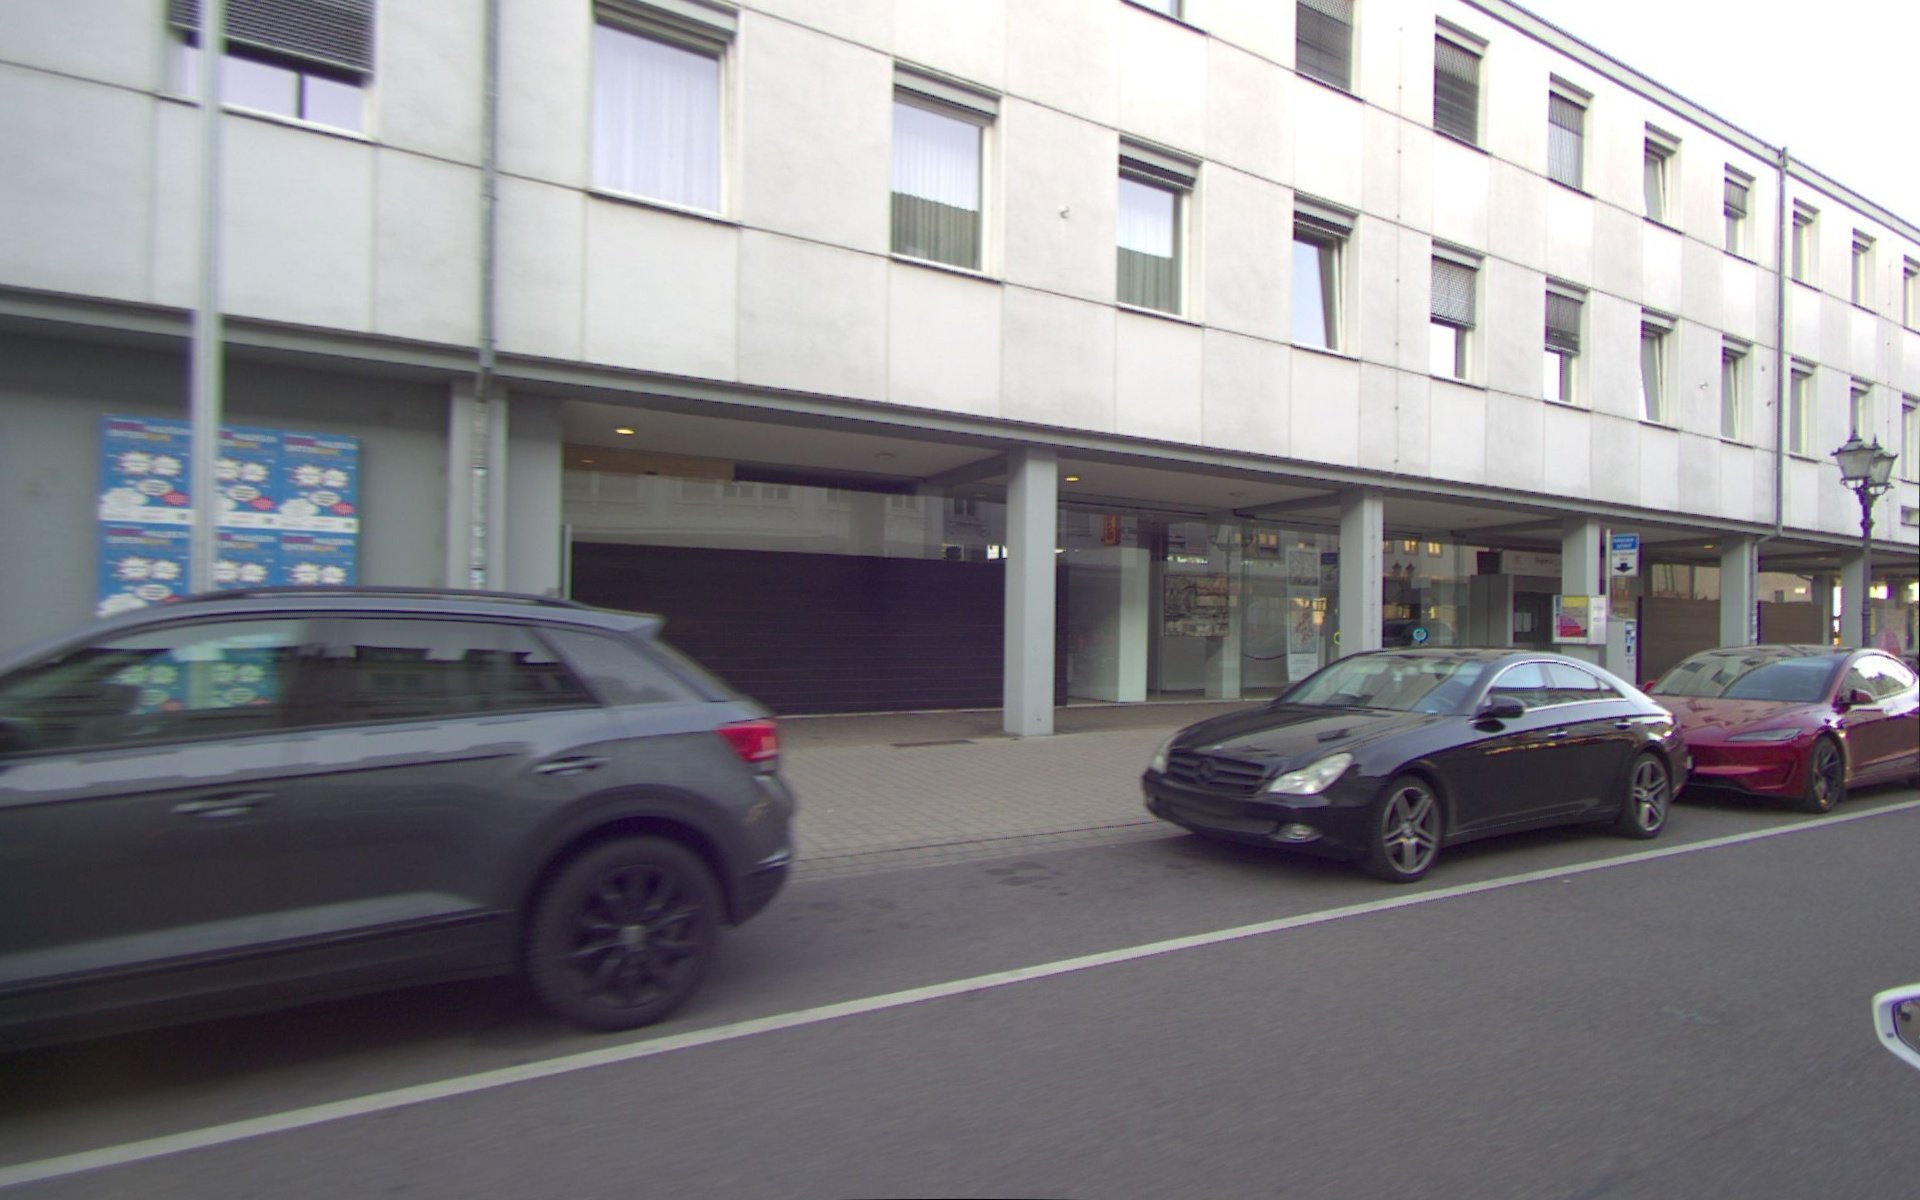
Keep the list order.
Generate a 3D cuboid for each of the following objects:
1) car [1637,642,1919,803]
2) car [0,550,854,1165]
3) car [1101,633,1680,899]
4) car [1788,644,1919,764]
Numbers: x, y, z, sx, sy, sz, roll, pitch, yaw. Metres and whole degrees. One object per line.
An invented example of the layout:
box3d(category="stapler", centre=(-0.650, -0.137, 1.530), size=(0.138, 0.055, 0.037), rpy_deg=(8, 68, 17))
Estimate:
box3d(category="car", centre=(9.409, 1.191, 10.939), size=(4.039, 1.427, 1.777), rpy_deg=(1, -1, -29))
box3d(category="car", centre=(-2.632, 0.707, 3.658), size=(4.115, 1.636, 1.777), rpy_deg=(1, -1, -29))
box3d(category="car", centre=(3.178, 0.976, 7.259), size=(4.039, 1.427, 1.777), rpy_deg=(1, -1, -29))
box3d(category="car", centre=(12.861, 1.288, 13.056), size=(3.952, 1.372, 1.984), rpy_deg=(1, -1, -30))
